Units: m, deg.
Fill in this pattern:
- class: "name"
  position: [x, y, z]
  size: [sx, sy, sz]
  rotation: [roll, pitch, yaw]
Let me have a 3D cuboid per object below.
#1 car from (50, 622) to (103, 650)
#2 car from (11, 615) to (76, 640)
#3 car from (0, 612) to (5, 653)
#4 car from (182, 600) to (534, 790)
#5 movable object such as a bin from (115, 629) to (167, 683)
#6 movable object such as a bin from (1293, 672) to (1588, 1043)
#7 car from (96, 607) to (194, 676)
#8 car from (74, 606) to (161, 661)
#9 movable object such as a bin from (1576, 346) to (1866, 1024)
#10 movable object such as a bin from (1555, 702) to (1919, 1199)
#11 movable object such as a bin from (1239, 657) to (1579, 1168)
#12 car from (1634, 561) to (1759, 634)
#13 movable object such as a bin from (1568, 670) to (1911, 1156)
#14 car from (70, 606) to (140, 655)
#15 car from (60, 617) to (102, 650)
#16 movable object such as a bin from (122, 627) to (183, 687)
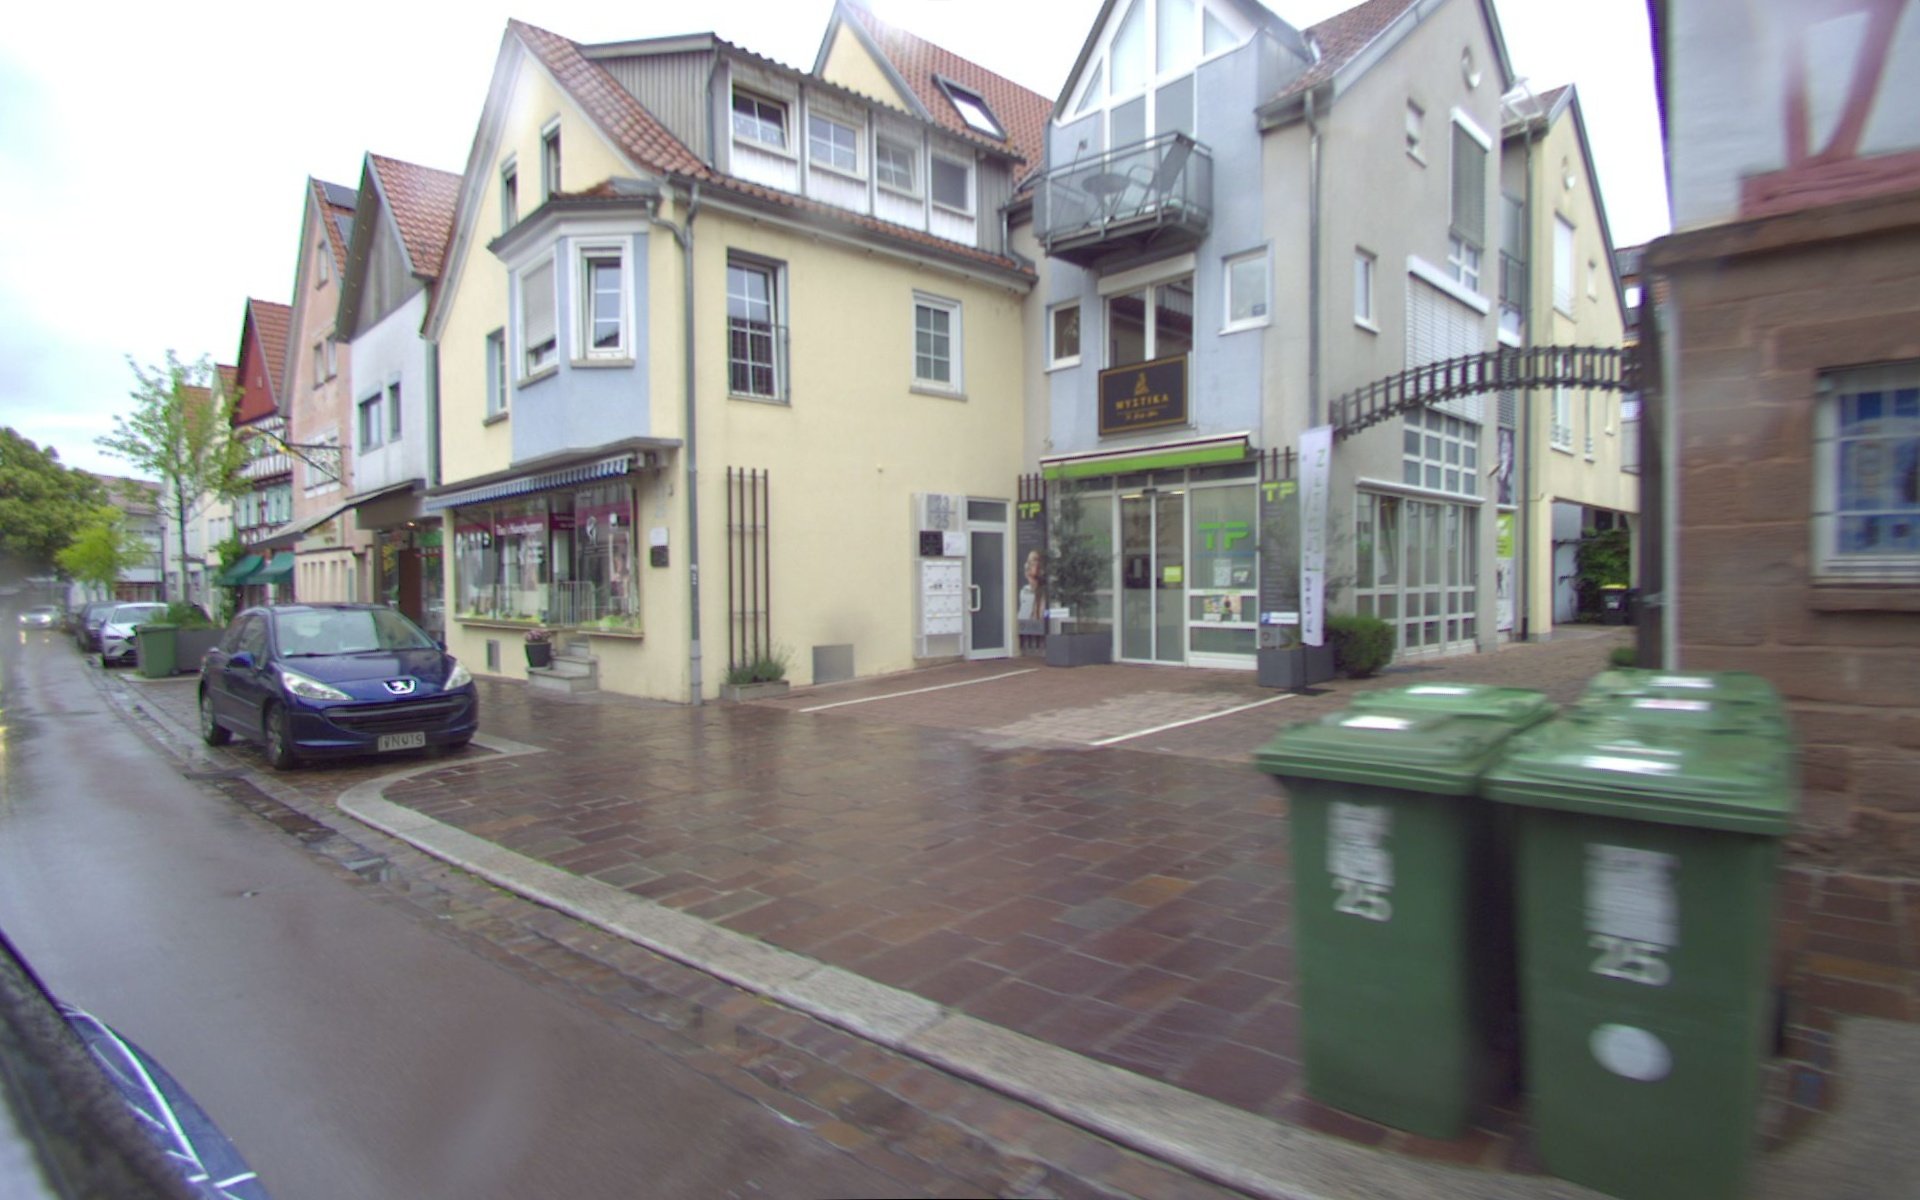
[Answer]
- class: "car"
  position: [-49.094, 1.992, 56.198]
  size: [4.628, 1.443, 1.781]
  rotation: [-2, -1, 43]
- class: "car"
  position: [-58.651, 1.746, 64.854]
  size: [1.965, 1.464, 4.013]
  rotation: [-1, 1, -25]
- class: "car"
  position: [-36.133, 1.208, 36.723]
  size: [1.969, 1.464, 4.006]
  rotation: [-1, 1, -41]
- class: "car"
  position: [-6.229, 0.801, 10.294]
  size: [3.999, 1.483, 1.972]
  rotation: [-1, 1, 42]
- class: "movable object such as a bin"
  position: [-17.908, 1.208, 22.128]
  size: [0.610, 1.114, 0.806]
  rotation: [0, 1, 43]
- class: "movable object such as a bin"
  position: [1.660, 0.807, 3.502]
  size: [0.733, 1.060, 0.624]
  rotation: [-5, -3, 39]
- class: "car"
  position: [-21.143, 1.001, 26.208]
  size: [1.805, 1.578, 4.006]
  rotation: [-1, 1, -41]
- class: "car"
  position: [-28.482, 1.084, 34.167]
  size: [1.813, 1.563, 4.285]
  rotation: [-6, 4, -44]
- class: "movable object such as a bin"
  position: [2.615, 0.250, 3.508]
  size: [0.746, 2.029, 0.624]
  rotation: [0, 1, 39]
- class: "movable object such as a bin"
  position: [1.831, 0.850, 2.312]
  size: [0.733, 1.131, 0.624]
  rotation: [0, 1, 39]
- class: "movable object such as a bin"
  position: [1.252, 0.752, 2.820]
  size: [0.733, 1.122, 0.624]
  rotation: [0, 1, 39]
- class: "car"
  position: [17.173, -0.078, 23.530]
  size: [1.792, 1.563, 3.941]
  rotation: [0, 1, 45]
- class: "movable object such as a bin"
  position: [2.265, 0.808, 2.982]
  size: [0.733, 1.131, 0.624]
  rotation: [0, 1, 39]
- class: "car"
  position: [-32.882, 1.113, 38.878]
  size: [1.812, 1.687, 4.545]
  rotation: [-1, 1, -43]
- class: "car"
  position: [-45.322, 1.690, 52.207]
  size: [1.573, 1.557, 3.983]
  rotation: [-1, 1, -41]
- class: "movable object such as a bin"
  position: [-16.250, 1.135, 20.370]
  size: [0.610, 1.114, 0.806]
  rotation: [0, 4, 43]
